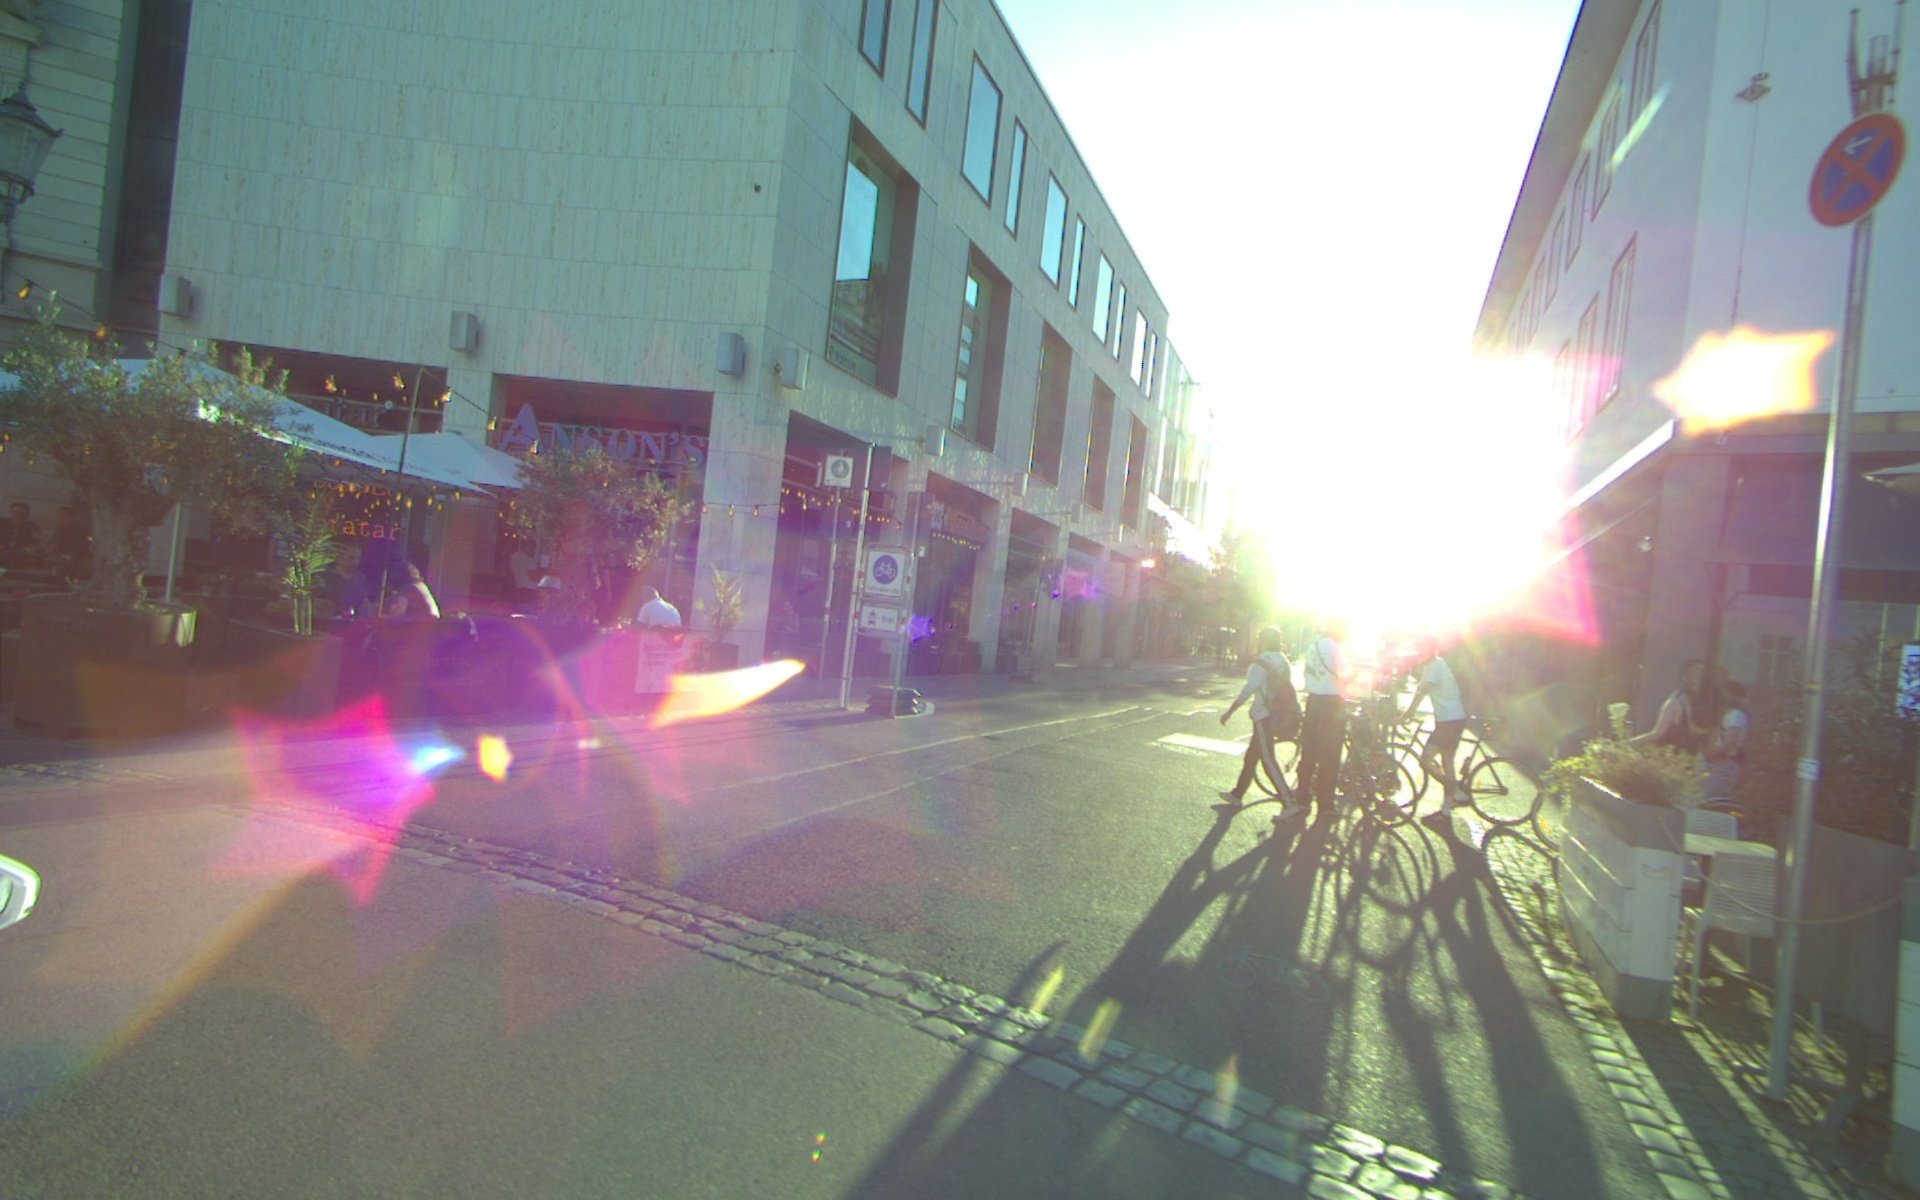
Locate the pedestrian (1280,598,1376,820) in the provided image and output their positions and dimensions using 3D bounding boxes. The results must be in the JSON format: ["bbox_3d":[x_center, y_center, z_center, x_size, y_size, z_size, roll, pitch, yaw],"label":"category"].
[{"bbox_3d":[3.475,1.003,9.480,0.616,1.952,0.645,6,0,24],"label":"pedestrian"}]

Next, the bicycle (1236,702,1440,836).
[{"bbox_3d":[3.520,1.542,9.462,1.652,0.945,0.472,6,0,38],"label":"bicycle"}]

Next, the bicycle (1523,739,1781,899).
[{"bbox_3d":[5.722,1.777,8.400,1.652,0.945,0.472,6,0,38],"label":"bicycle"}]

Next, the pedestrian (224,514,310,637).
[{"bbox_3d":[-11.013,-0.392,15.993,0.967,1.825,0.726,6,0,37],"label":"pedestrian"}]

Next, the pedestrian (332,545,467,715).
[{"bbox_3d":[-5.196,0.279,9.347,0.681,1.465,0.723,6,0,24],"label":"pedestrian"}]

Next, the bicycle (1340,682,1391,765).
[{"bbox_3d":[6.574,1.972,16.373,0.512,1.156,1.964,6,0,18],"label":"bicycle"}]

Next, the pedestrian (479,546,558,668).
[{"bbox_3d":[-6.794,0.115,15.507,0.703,1.769,0.710,6,0,7],"label":"pedestrian"}]

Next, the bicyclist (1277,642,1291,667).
[{"bbox_3d":[23.562,3.984,73.143,0.784,1.711,0.900,6,0,20],"label":"bicyclist"}]

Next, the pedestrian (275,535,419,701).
[{"bbox_3d":[-5.888,0.177,9.679,0.850,1.465,0.723,6,0,24],"label":"pedestrian"}]

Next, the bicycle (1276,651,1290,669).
[{"bbox_3d":[23.548,4.387,73.244,0.784,1.232,2.233,6,-1,20],"label":"bicycle"}]

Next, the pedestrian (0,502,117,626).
[{"bbox_3d":[-11.652,-0.442,12.962,0.836,1.465,0.775,6,0,16],"label":"pedestrian"}]

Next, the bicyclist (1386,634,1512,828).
[{"bbox_3d":[4.765,1.259,9.843,0.819,1.765,0.482,6,0,3],"label":"bicyclist"}]

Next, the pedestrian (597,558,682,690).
[{"bbox_3d":[-4.573,0.346,14.363,0.697,1.769,0.716,6,0,23],"label":"pedestrian"}]

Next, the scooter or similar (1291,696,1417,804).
[{"bbox_3d":[4.496,1.683,11.484,1.184,1.024,0.486,6,0,31],"label":"scooter or similar"}]

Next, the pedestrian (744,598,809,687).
[{"bbox_3d":[-3.066,0.720,16.821,0.678,1.393,0.663,6,0,33],"label":"pedestrian"}]

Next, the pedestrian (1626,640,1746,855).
[{"bbox_3d":[6.958,1.383,9.661,0.533,1.947,0.581,6,0,2],"label":"pedestrian"}]

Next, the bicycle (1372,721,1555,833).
[{"bbox_3d":[4.900,1.718,9.838,1.456,0.858,0.482,6,0,3],"label":"bicycle"}]

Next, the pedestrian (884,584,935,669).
[{"bbox_3d":[-1.155,0.610,23.145,0.834,1.825,0.730,6,0,9],"label":"pedestrian"}]

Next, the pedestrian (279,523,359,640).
[{"bbox_3d":[-10.588,-0.304,16.623,0.837,1.825,0.727,6,0,37],"label":"pedestrian"}]

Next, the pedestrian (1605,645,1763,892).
[{"bbox_3d":[5.795,1.320,8.078,0.705,1.841,0.509,6,0,2],"label":"pedestrian"}]

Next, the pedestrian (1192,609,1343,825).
[{"bbox_3d":[2.809,1.026,9.159,0.919,1.762,0.918,6,0,35],"label":"pedestrian"}]

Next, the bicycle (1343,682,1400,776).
[{"bbox_3d":[5.948,1.824,14.604,0.512,1.156,1.964,6,0,18],"label":"bicycle"}]

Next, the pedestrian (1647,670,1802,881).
[{"bbox_3d":[6.712,1.512,8.865,0.720,1.697,0.620,6,0,2],"label":"pedestrian"}]

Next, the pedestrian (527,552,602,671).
[{"bbox_3d":[-6.263,0.188,15.963,0.703,1.769,0.710,6,0,7],"label":"pedestrian"}]

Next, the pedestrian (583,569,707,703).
[{"bbox_3d":[-3.804,0.430,12.220,0.927,1.465,0.972,6,0,16],"label":"pedestrian"}]

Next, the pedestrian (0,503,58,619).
[{"bbox_3d":[-12.601,-0.534,13.151,0.836,1.465,0.775,6,0,16],"label":"pedestrian"}]
